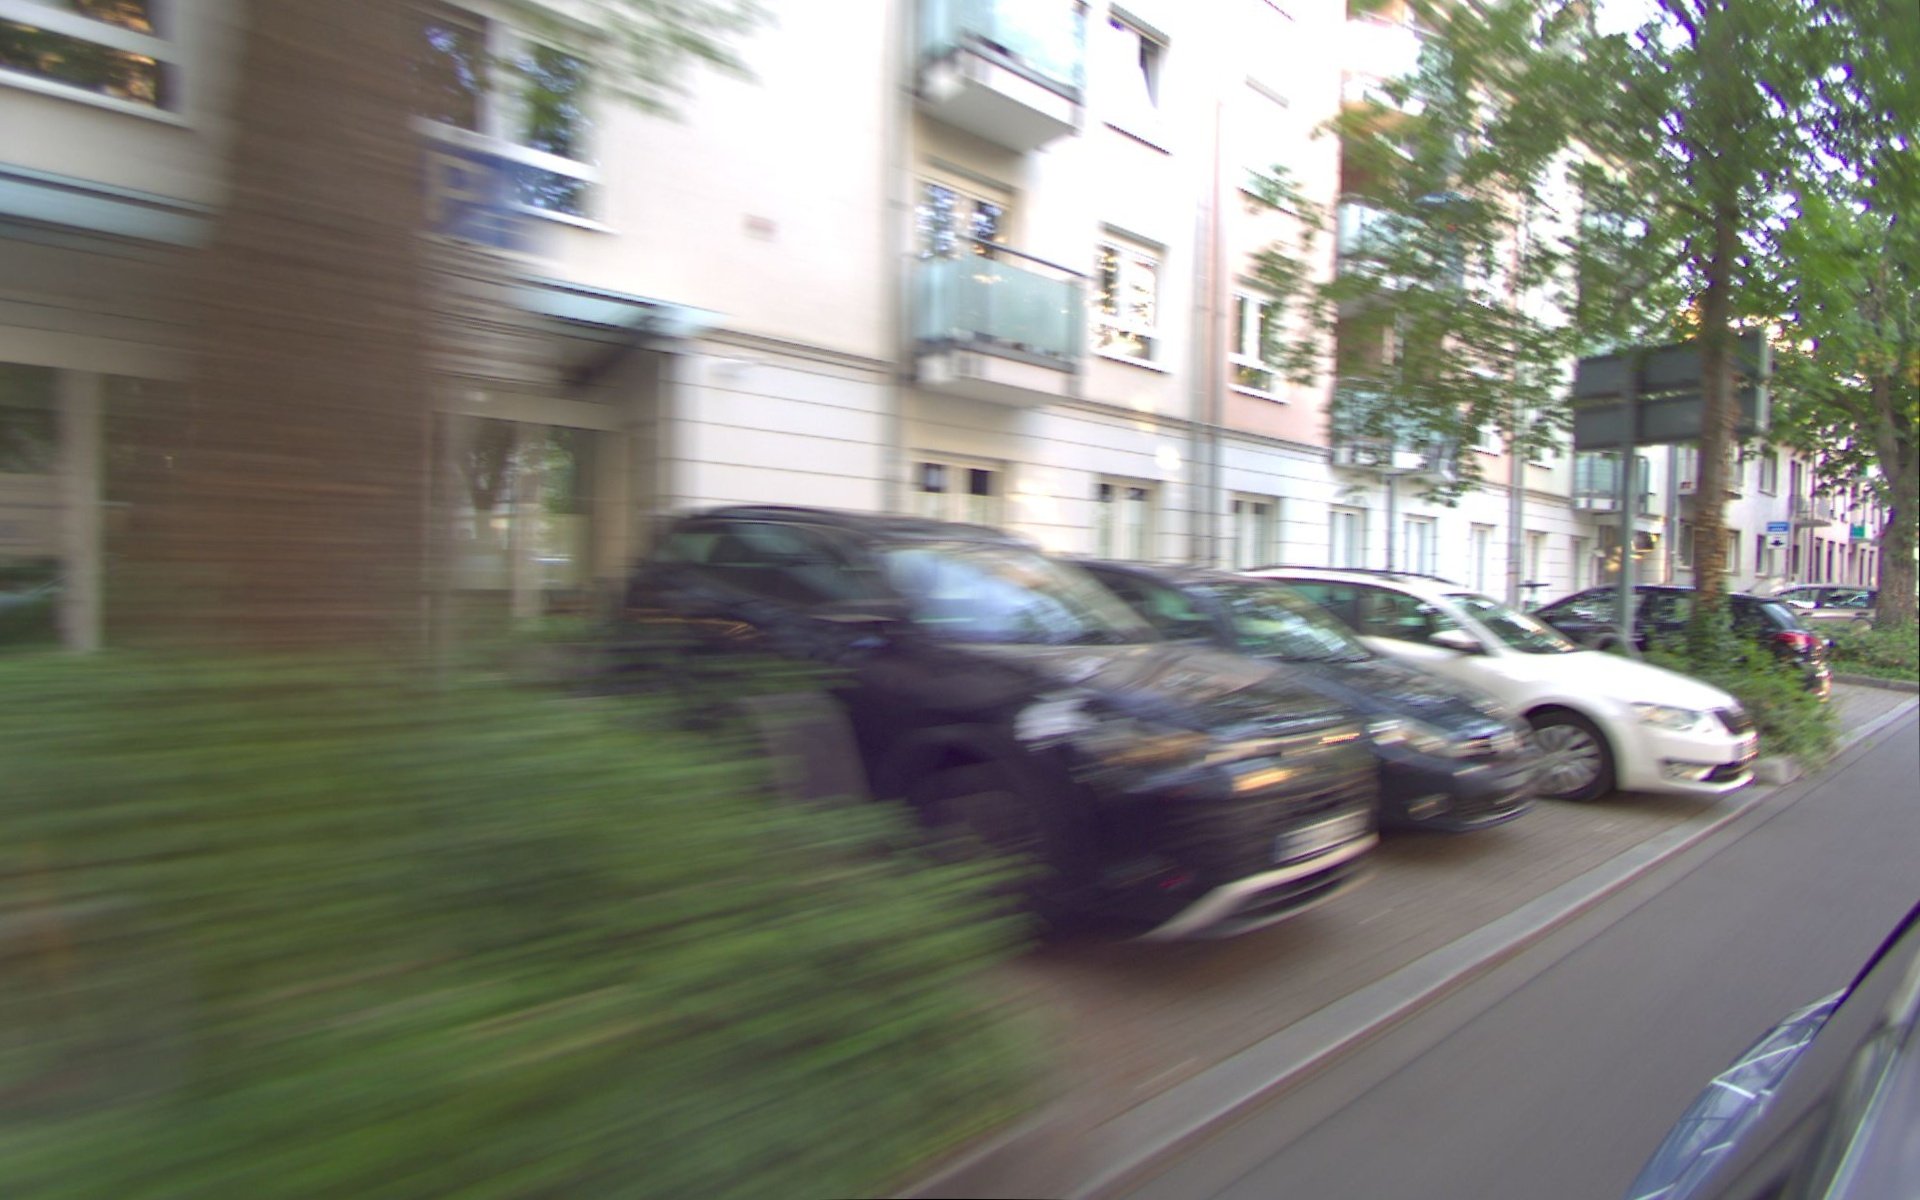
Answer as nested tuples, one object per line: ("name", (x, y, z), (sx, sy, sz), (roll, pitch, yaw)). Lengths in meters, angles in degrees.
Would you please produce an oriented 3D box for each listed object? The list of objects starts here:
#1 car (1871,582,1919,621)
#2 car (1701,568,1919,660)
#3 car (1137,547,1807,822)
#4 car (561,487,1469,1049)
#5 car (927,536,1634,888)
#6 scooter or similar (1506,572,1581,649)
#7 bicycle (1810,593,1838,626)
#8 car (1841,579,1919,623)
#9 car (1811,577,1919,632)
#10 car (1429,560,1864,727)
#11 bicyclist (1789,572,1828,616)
("car", (39.608, 0.164, 40.120), (2.005, 1.465, 4.855), (0, 4, -38))
("car", (18.545, 0.240, 21.644), (1.883, 1.604, 3.979), (0, 4, -41))
("car", (3.879, 0.419, 8.442), (1.765, 1.485, 4.611), (0, 5, -41))
("car", (-0.165, 0.316, 5.357), (1.977, 1.636, 4.649), (0, 5, -44))
("car", (1.817, 0.421, 6.955), (1.894, 1.455, 4.238), (0, 5, -38))
("scooter or similar", (10.030, 0.164, 17.383), (1.431, 1.217, 0.656), (0, 5, -44))
("bicycle", (32.625, 0.343, 38.192), (0.620, 1.178, 3.348), (2, 2, 43))
("car", (34.724, 0.108, 36.059), (1.964, 1.405, 4.692), (0, 4, -39))
("car", (28.434, 0.177, 30.030), (1.973, 1.444, 4.476), (0, 4, -36))
("car", (8.263, 0.381, 12.424), (4.087, 1.468, 1.904), (7, 5, 44))
("bicyclist", (31.979, -0.238, 38.123), (1.117, 1.624, 0.971), (0, 2, -44))
